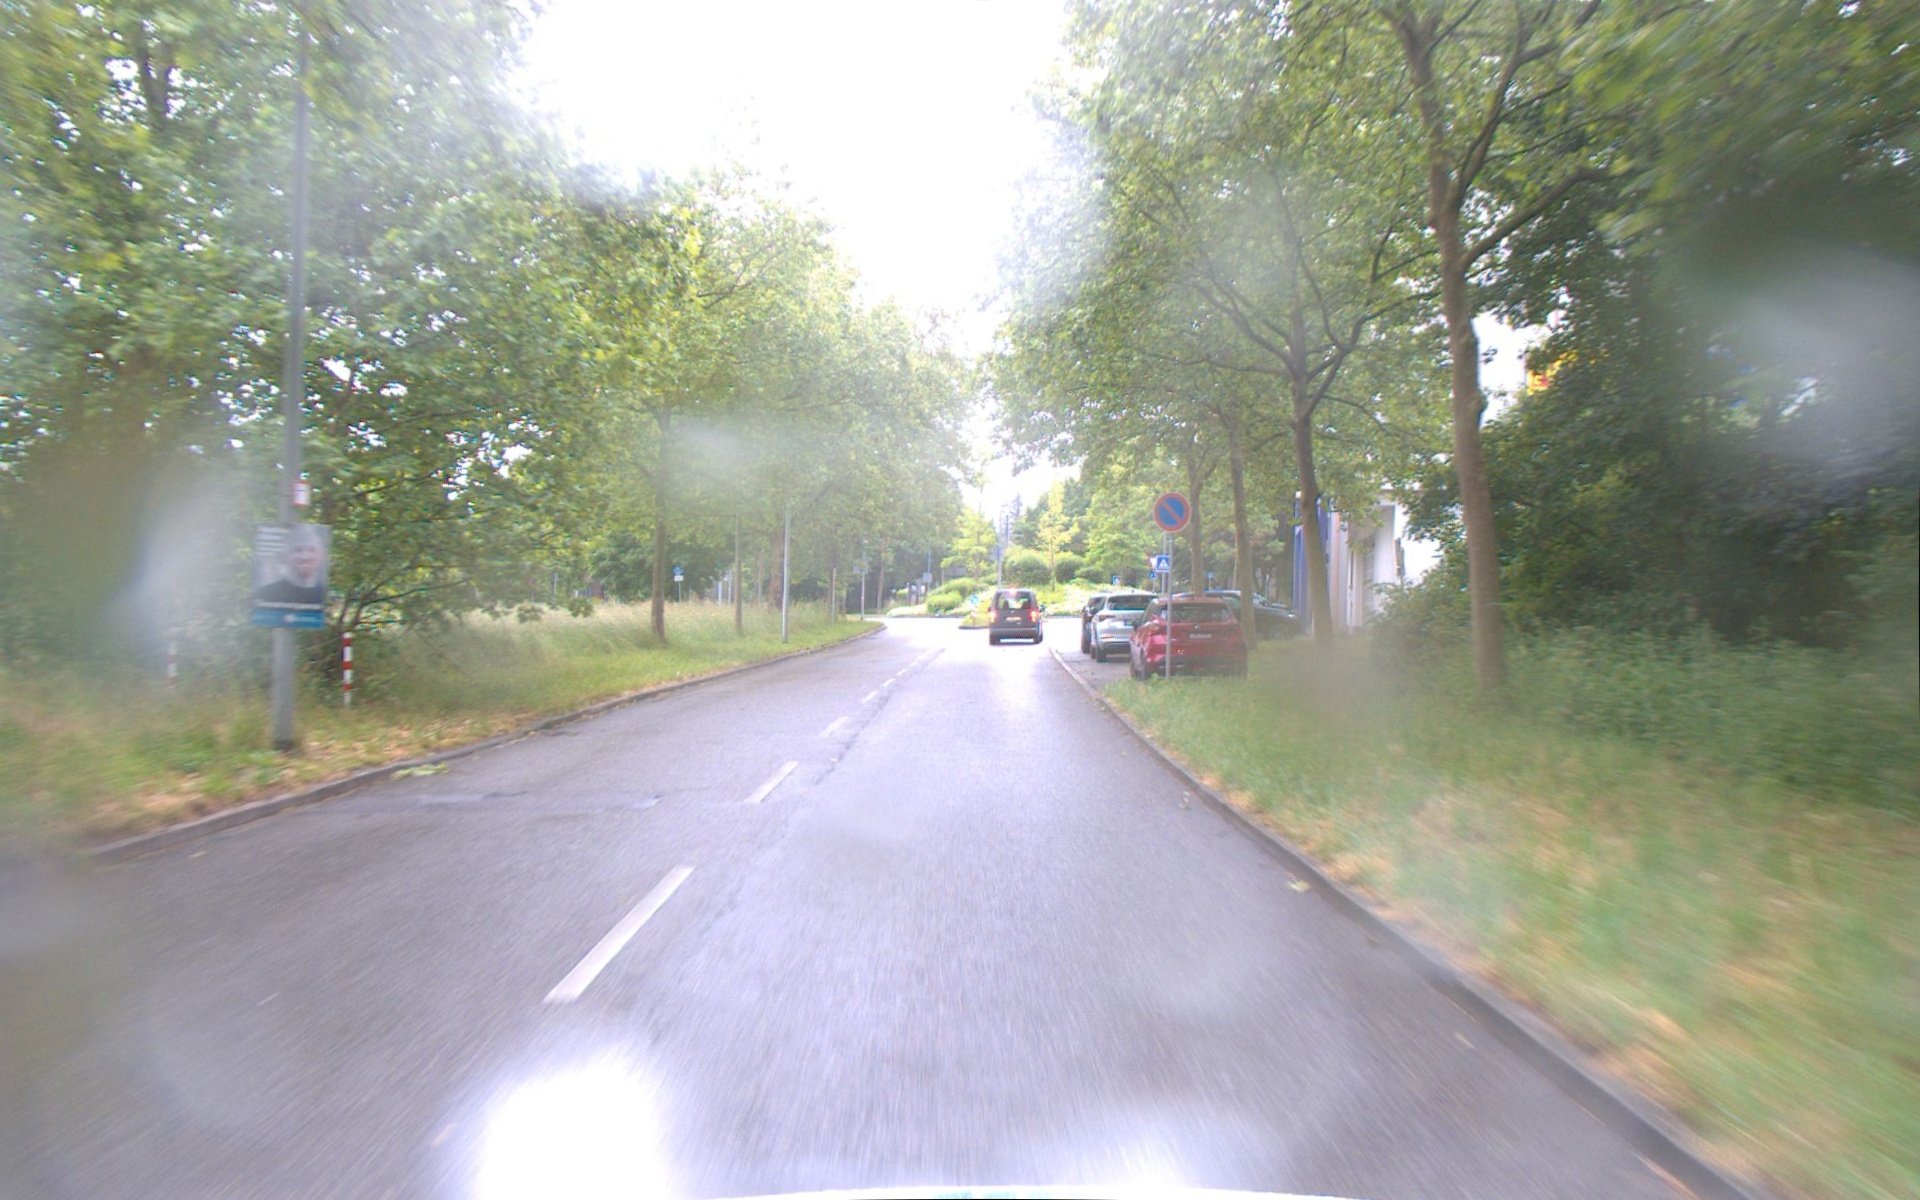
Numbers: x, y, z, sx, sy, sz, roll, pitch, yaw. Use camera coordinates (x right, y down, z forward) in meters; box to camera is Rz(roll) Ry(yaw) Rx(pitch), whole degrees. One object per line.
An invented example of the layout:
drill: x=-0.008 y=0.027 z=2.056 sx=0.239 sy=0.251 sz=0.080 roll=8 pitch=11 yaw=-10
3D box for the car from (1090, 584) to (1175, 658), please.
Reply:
car: x=4.044 y=0.471 z=39.352 sx=1.692 sy=1.619 sz=4.254 roll=-1 pitch=0 yaw=2

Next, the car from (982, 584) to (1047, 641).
car: x=1.934 y=0.411 z=57.373 sx=1.877 sy=1.832 sz=3.793 roll=-2 pitch=0 yaw=7

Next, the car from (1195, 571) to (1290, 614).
car: x=13.311 y=-0.382 z=78.100 sx=4.284 sy=1.789 sz=1.831 roll=2 pitch=2 yaw=8

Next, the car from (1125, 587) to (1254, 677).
car: x=3.824 y=0.509 z=28.082 sx=1.760 sy=1.396 sz=3.745 roll=-1 pitch=0 yaw=2

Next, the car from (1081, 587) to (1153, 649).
car: x=4.314 y=0.483 z=45.947 sx=1.763 sy=1.630 sz=4.372 roll=0 pitch=0 yaw=3

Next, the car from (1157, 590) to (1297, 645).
car: x=8.711 y=0.547 z=54.300 sx=4.376 sy=1.709 sz=1.768 roll=1 pitch=1 yaw=3
